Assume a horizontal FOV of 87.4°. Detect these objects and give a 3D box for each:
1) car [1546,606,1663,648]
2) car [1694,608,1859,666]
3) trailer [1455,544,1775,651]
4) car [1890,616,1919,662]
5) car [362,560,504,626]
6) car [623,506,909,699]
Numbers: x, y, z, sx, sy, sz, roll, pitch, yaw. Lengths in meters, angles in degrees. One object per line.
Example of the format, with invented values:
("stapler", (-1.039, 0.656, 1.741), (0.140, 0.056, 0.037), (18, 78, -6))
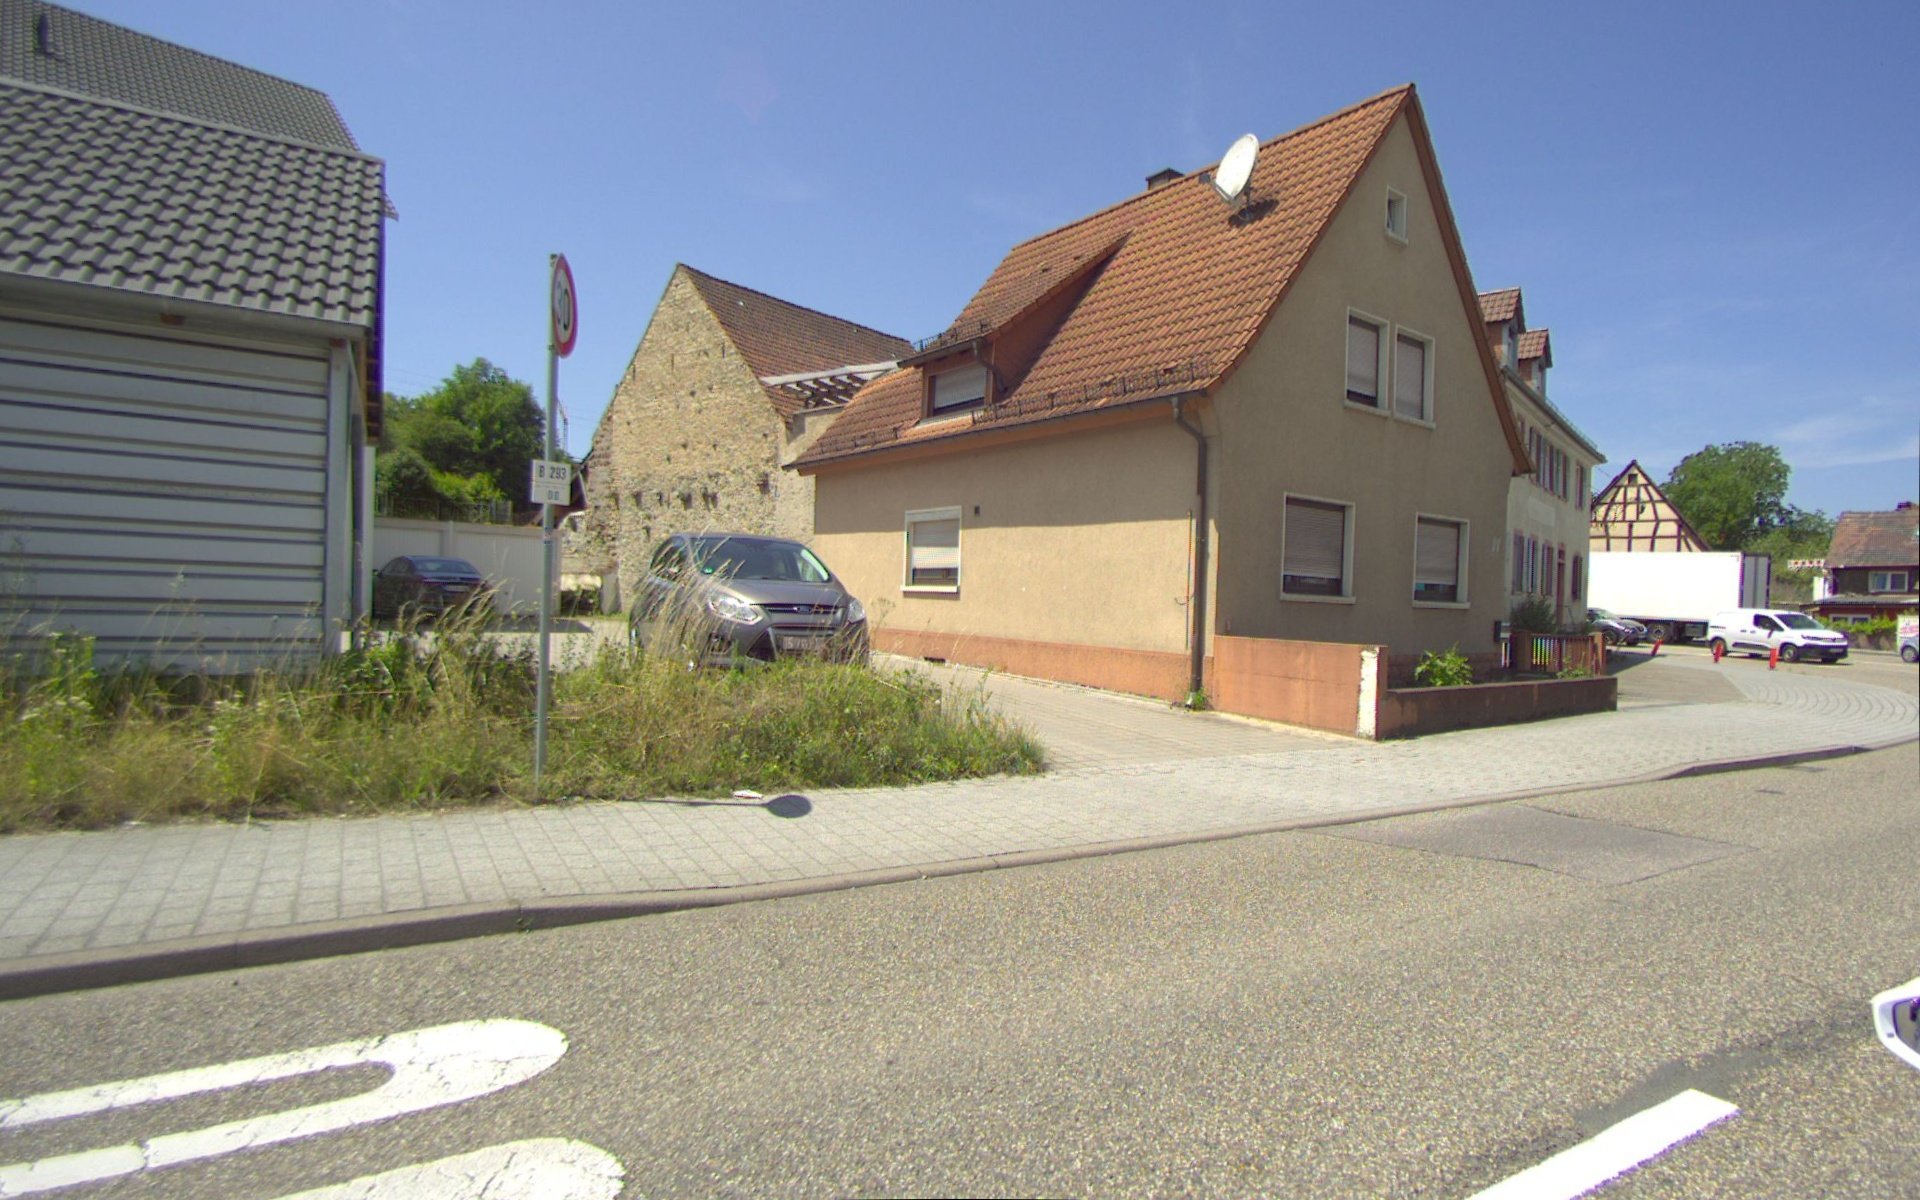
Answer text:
("car", (28.065, 1.147, 43.880), (1.771, 1.544, 3.980), (2, 2, -20))
("car", (29.502, 1.298, 36.509), (1.846, 1.809, 4.513), (1, 1, -9))
("trailer", (30.107, -0.240, 47.274), (3.107, 4.334, 12.390), (3, 0, -31))
("car", (34.285, 1.402, 34.257), (1.752, 1.606, 3.606), (2, 0, 1))
("car", (-12.038, -0.176, 22.832), (1.850, 1.298, 3.948), (2, 1, -43))
("car", (-2.298, 0.038, 10.906), (1.843, 1.660, 4.106), (2, 0, -29))
